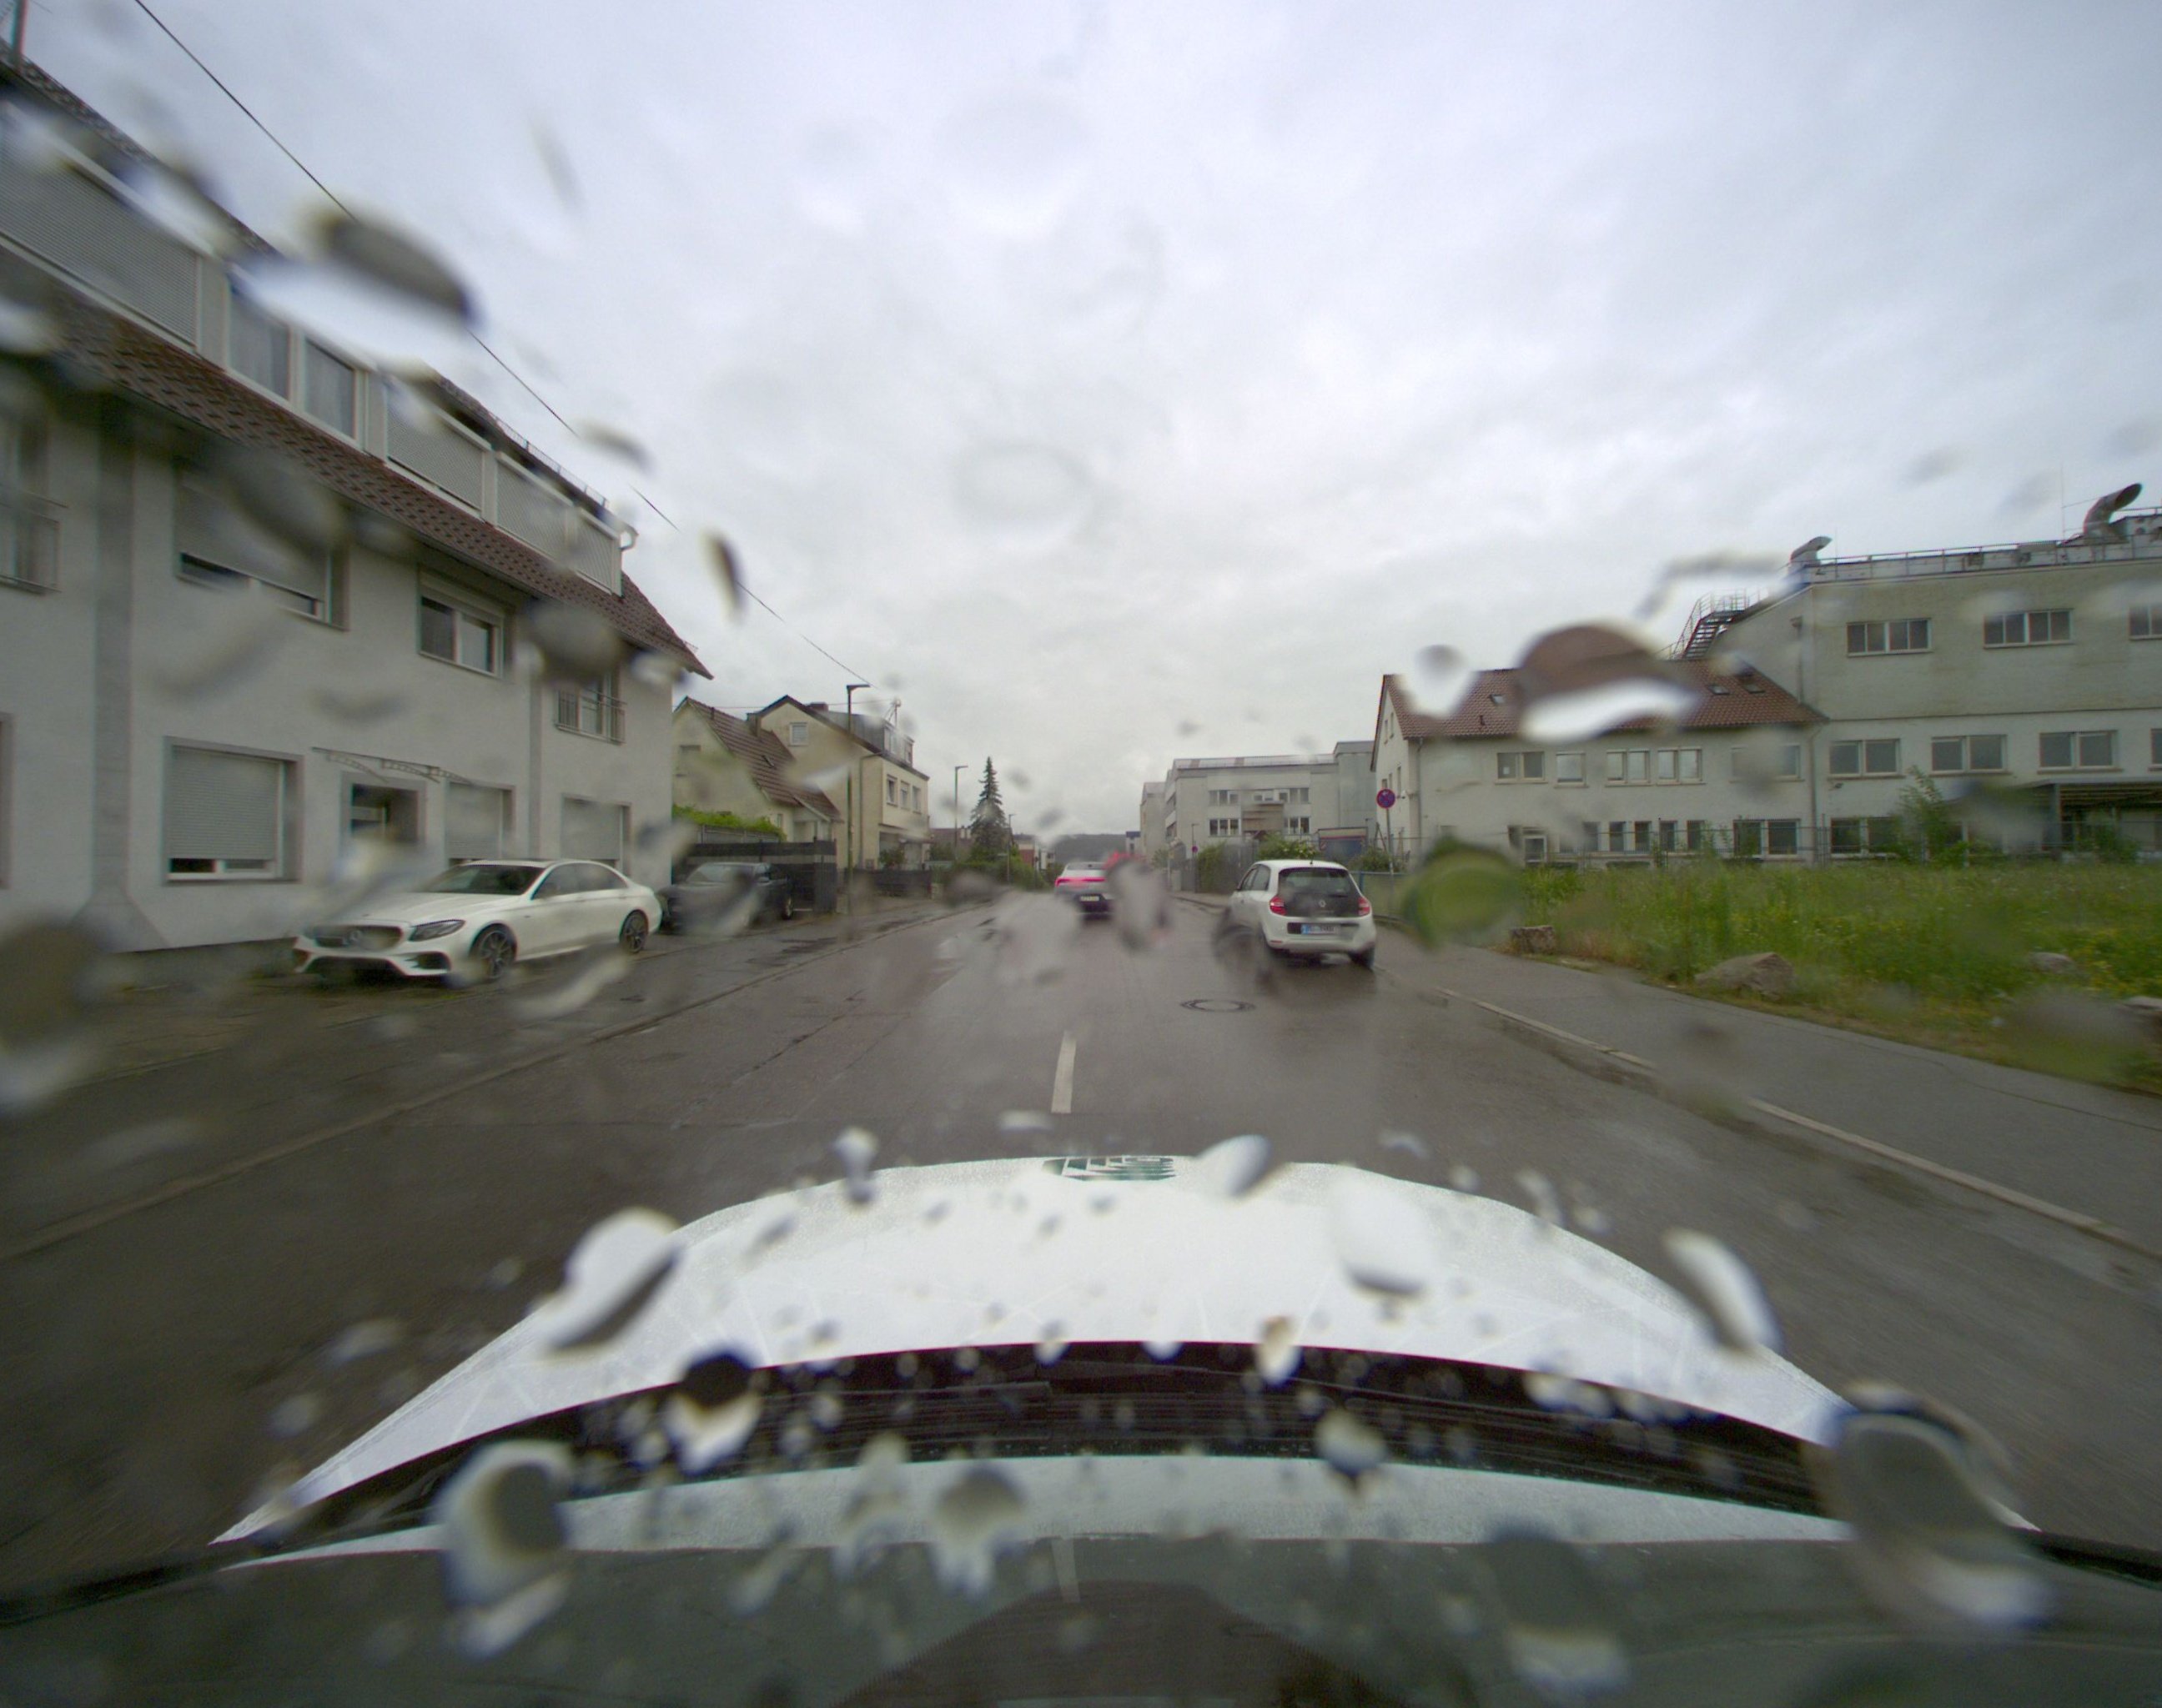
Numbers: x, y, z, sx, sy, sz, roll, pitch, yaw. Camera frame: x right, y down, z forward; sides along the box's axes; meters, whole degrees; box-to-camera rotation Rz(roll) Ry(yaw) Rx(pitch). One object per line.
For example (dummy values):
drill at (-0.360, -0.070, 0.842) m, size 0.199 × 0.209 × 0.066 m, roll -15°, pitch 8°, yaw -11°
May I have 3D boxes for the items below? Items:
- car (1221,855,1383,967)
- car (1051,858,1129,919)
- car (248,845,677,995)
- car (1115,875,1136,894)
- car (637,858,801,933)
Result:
car at (3.409, 0.811, 13.244) m, size 1.676 × 1.557 × 3.674 m, roll 0°, pitch 0°, yaw 0°
car at (0.242, 0.887, 23.125) m, size 1.987 × 1.502 × 4.670 m, roll 0°, pitch 0°, yaw 0°
car at (-7.795, 0.715, 11.117) m, size 1.987 × 1.510 × 4.896 m, roll 3°, pitch 0°, yaw 1°
car at (5.123, 3.544, 94.401) m, size 1.989 × 2.014 × 3.995 m, roll -1°, pitch -4°, yaw -2°
car at (-7.893, 0.837, 18.289) m, size 1.823 × 1.368 × 4.564 m, roll 3°, pitch 0°, yaw -4°
